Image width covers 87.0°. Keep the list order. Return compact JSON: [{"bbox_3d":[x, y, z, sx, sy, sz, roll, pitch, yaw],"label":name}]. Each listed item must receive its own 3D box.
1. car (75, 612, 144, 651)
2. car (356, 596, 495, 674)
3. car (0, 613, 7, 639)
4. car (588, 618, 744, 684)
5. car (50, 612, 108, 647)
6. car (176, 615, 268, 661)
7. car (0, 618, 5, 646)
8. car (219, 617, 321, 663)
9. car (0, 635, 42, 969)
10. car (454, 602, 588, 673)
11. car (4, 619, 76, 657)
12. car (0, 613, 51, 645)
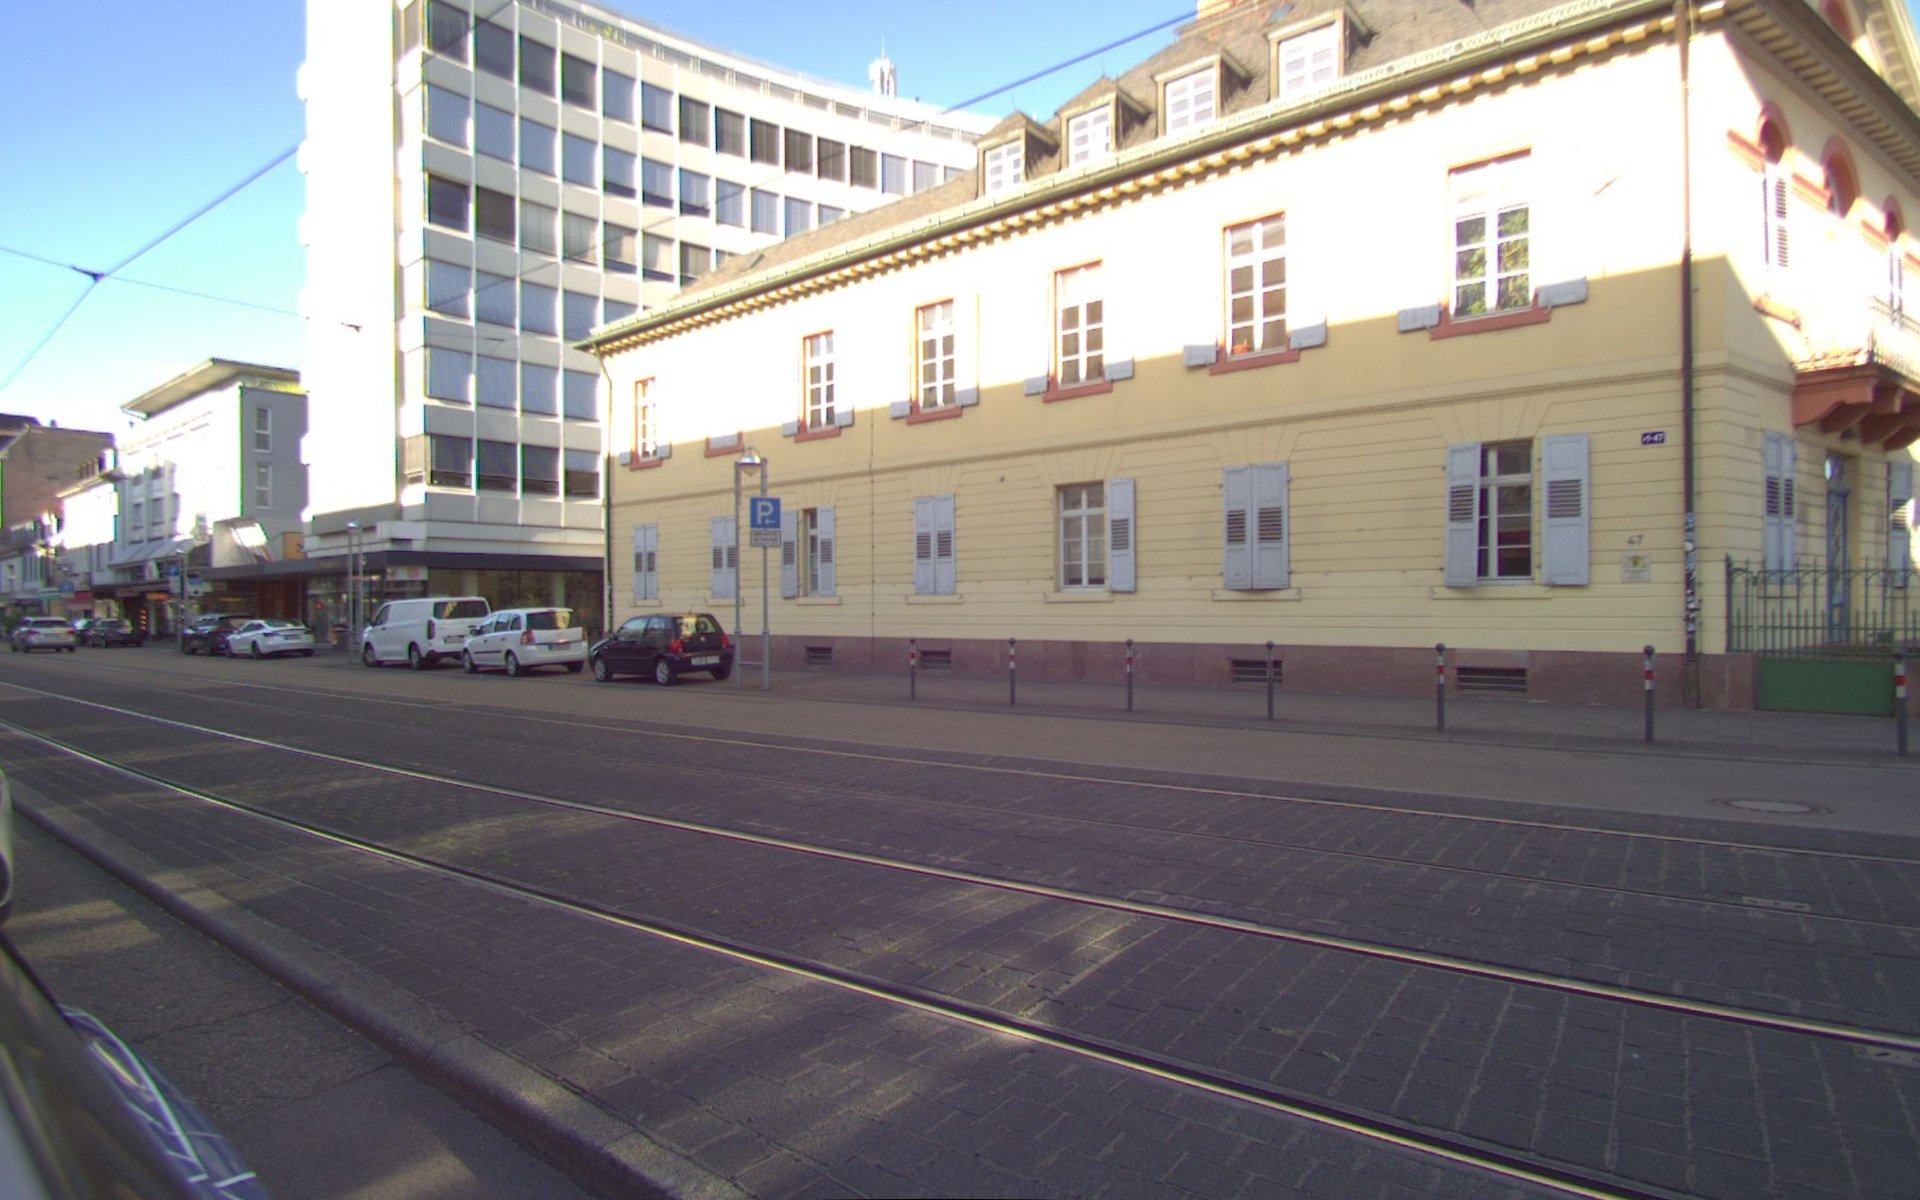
[{"bbox_3d":[-43.823,1.588,52.128,3.995,1.874,1.974,-1,0,38],"label":"car"},{"bbox_3d":[-15.355,0.970,28.951,4.619,2.029,2.014,-1,-1,41],"label":"car"},{"bbox_3d":[-78.877,2.126,81.913,3.995,2.029,1.974,-1,0,38],"label":"car"},{"bbox_3d":[-6.283,1.027,21.527,3.210,1.263,1.667,-1,0,39],"label":"car"},{"bbox_3d":[-50.298,1.670,57.767,3.995,1.896,1.768,-1,-1,38],"label":"car"},{"bbox_3d":[-29.911,1.490,40.966,4.103,1.717,1.975,-1,0,38],"label":"car"},{"bbox_3d":[-71.515,2.327,74.049,3.998,2.029,1.973,-1,-1,41],"label":"car"},{"bbox_3d":[-25.643,1.444,37.592,4.369,1.541,1.974,-1,0,39],"label":"car"},{"bbox_3d":[-6.114,0.883,4.794,3.992,1.393,1.862,-1,0,36],"label":"car"},{"bbox_3d":[-11.044,0.891,25.345,4.005,1.621,1.619,-1,0,43],"label":"car"},{"bbox_3d":[-40.952,1.661,45.037,3.994,1.609,1.739,-1,-1,38],"label":"car"},{"bbox_3d":[-63.031,1.935,68.075,3.996,2.058,2.172,-1,-1,39],"label":"car"}]
